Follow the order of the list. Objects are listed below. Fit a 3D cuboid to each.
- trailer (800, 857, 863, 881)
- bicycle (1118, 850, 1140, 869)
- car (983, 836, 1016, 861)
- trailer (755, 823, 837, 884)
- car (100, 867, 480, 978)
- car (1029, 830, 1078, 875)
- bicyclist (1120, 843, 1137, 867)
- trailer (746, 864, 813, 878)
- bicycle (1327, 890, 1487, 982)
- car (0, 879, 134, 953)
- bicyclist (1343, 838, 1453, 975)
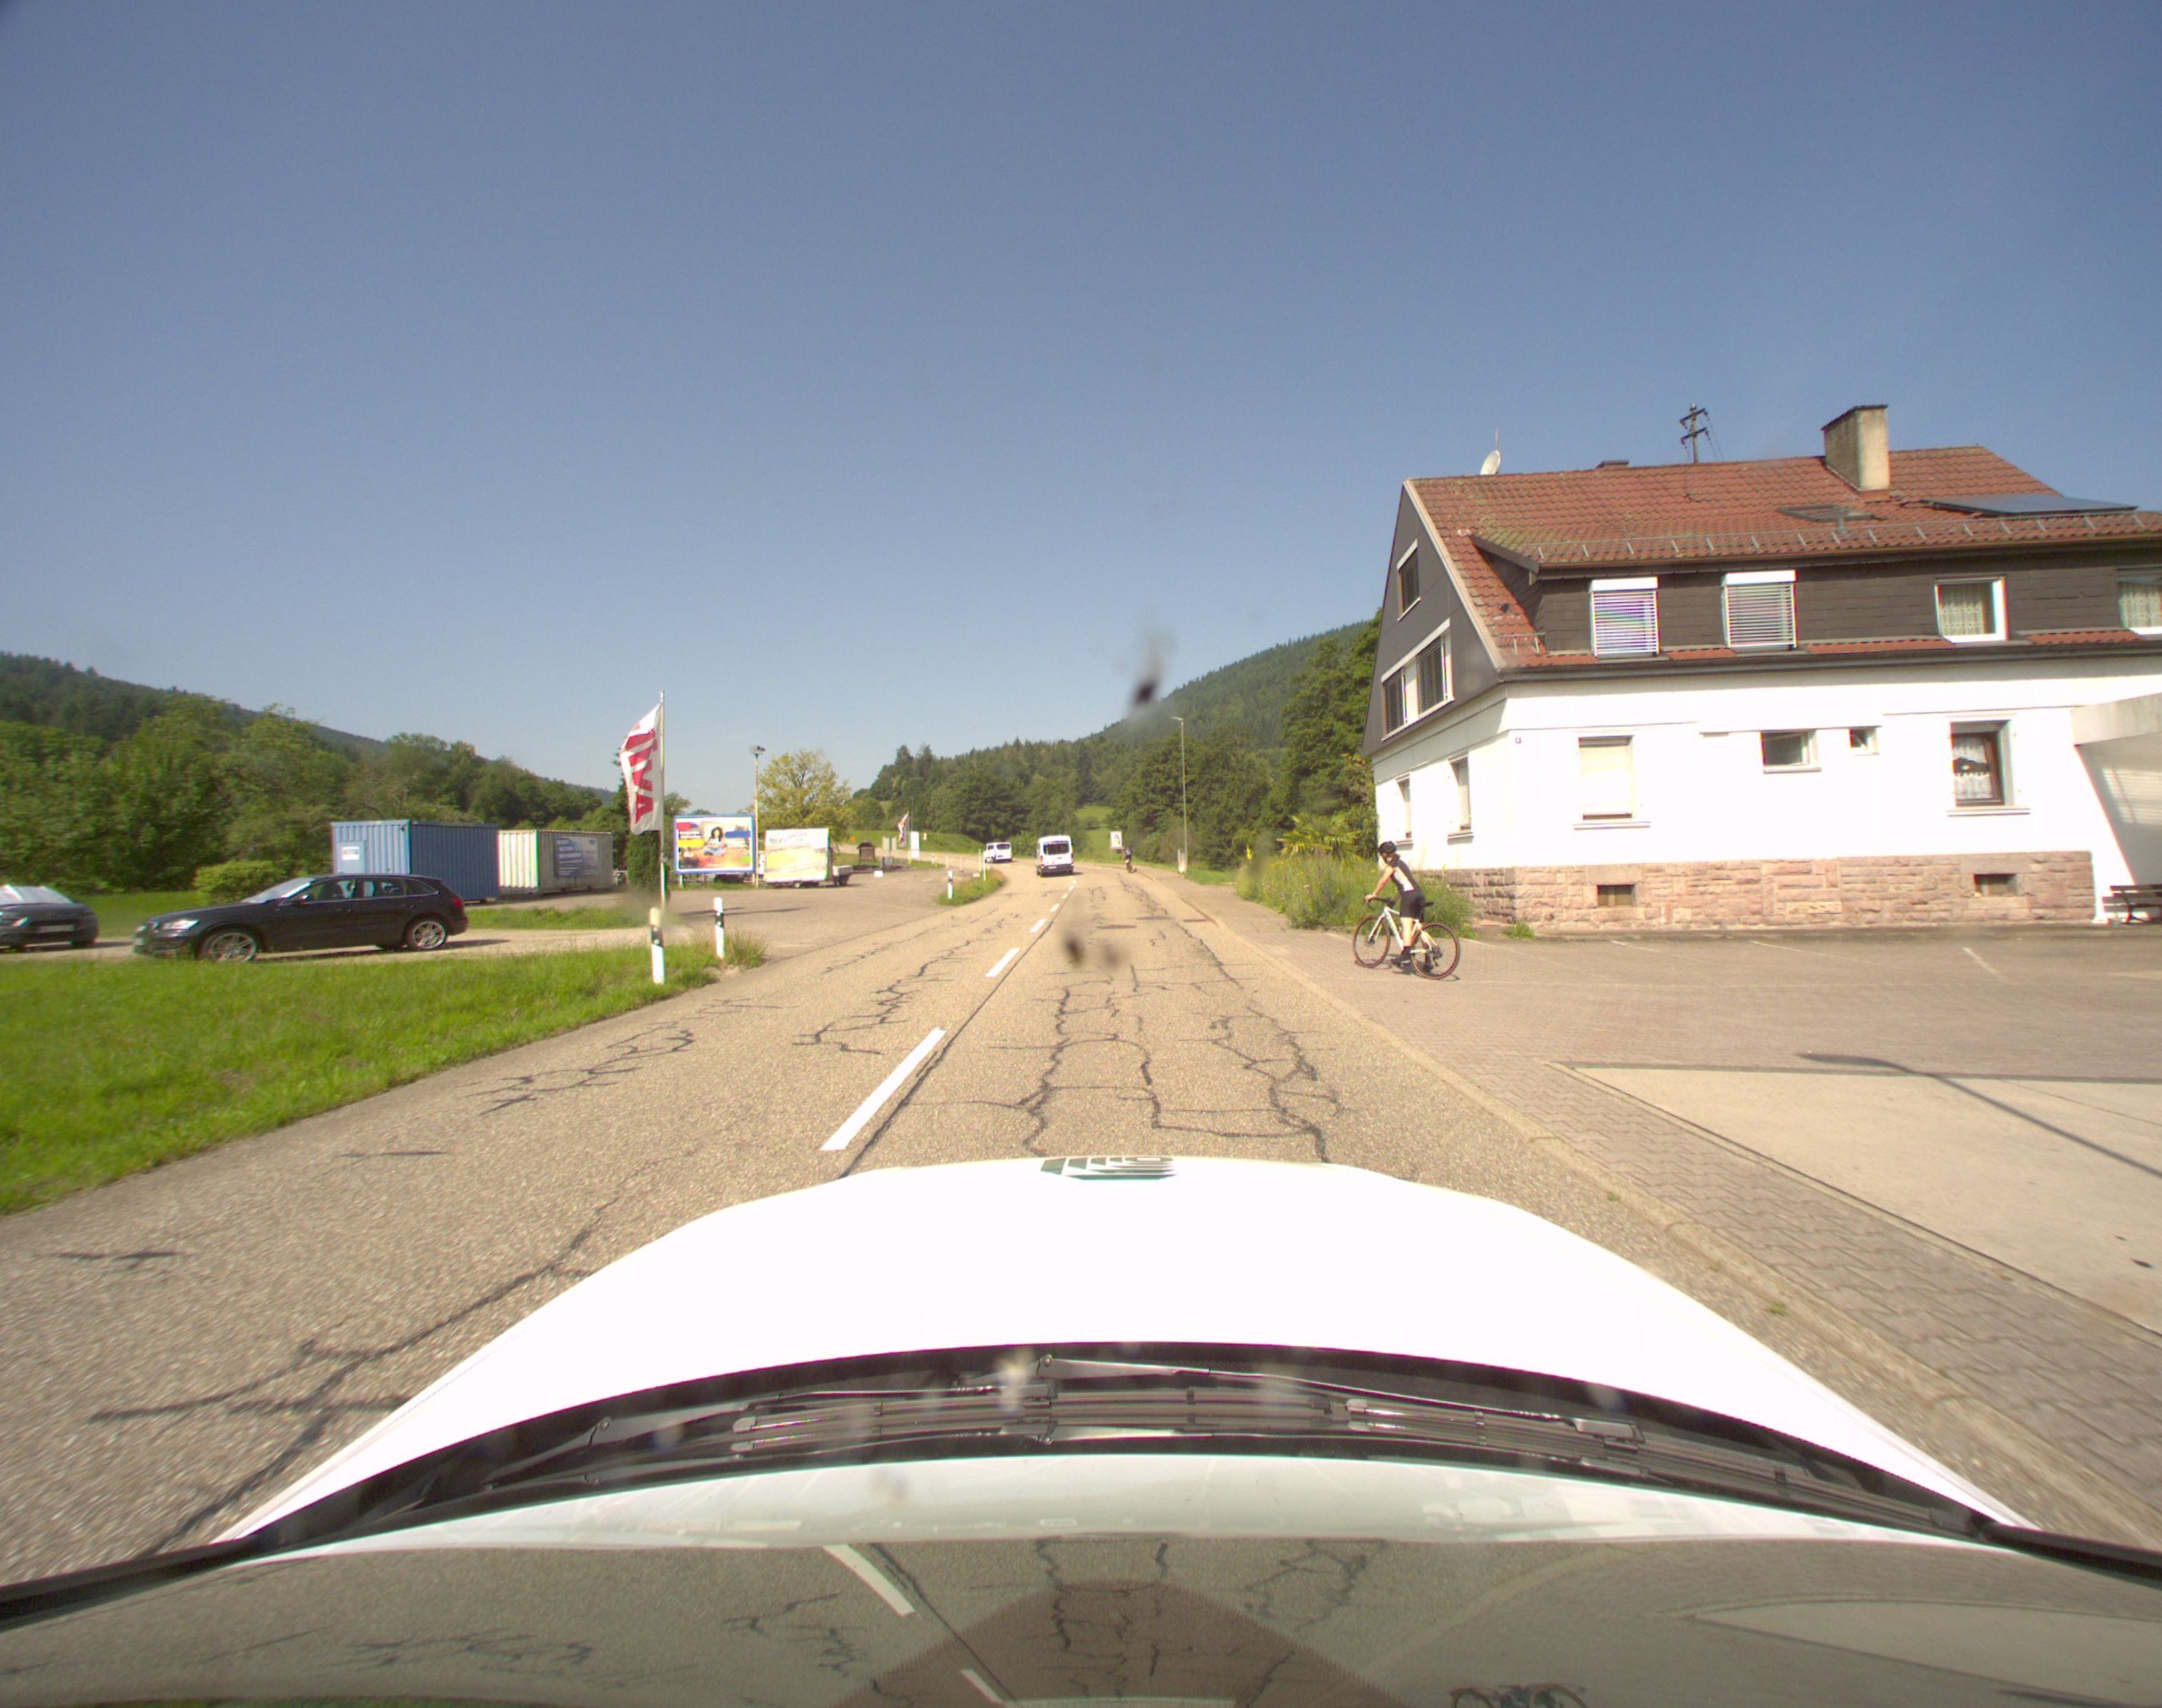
[{"bbox_3d":[-13.567,0.795,44.630,1.989,1.226,5.539,0,0,-3],"label":"trailer"},{"bbox_3d":[2.829,0.333,48.289,0.581,1.035,1.979,-5,1,-17],"label":"bicycle"},{"bbox_3d":[-8.154,-0.596,80.812,2.228,2.286,4.957,-5,2,-17],"label":"car"},{"bbox_3d":[-13.889,-0.040,39.847,3.387,2.912,1.880,0,0,-6],"label":"trailer"},{"bbox_3d":[-14.913,1.155,15.767,1.813,1.648,4.939,-1,0,29],"label":"car"},{"bbox_3d":[-1.812,-0.148,51.082,2.223,2.525,4.968,-4,2,-10],"label":"car"},{"bbox_3d":[2.816,0.071,48.246,0.581,1.342,1.138,-5,1,-17],"label":"bicyclist"},{"bbox_3d":[-20.569,1.153,55.673,3.921,0.939,1.866,0,-1,-2],"label":"trailer"},{"bbox_3d":[4.119,0.994,10.464,0.692,0.918,1.933,0,2,-26],"label":"bicycle"},{"bbox_3d":[-24.270,1.365,18.392,3.898,1.485,1.922,-1,0,8],"label":"car"},{"bbox_3d":[4.069,0.629,10.519,0.692,1.632,1.131,0,1,-26],"label":"bicyclist"}]
